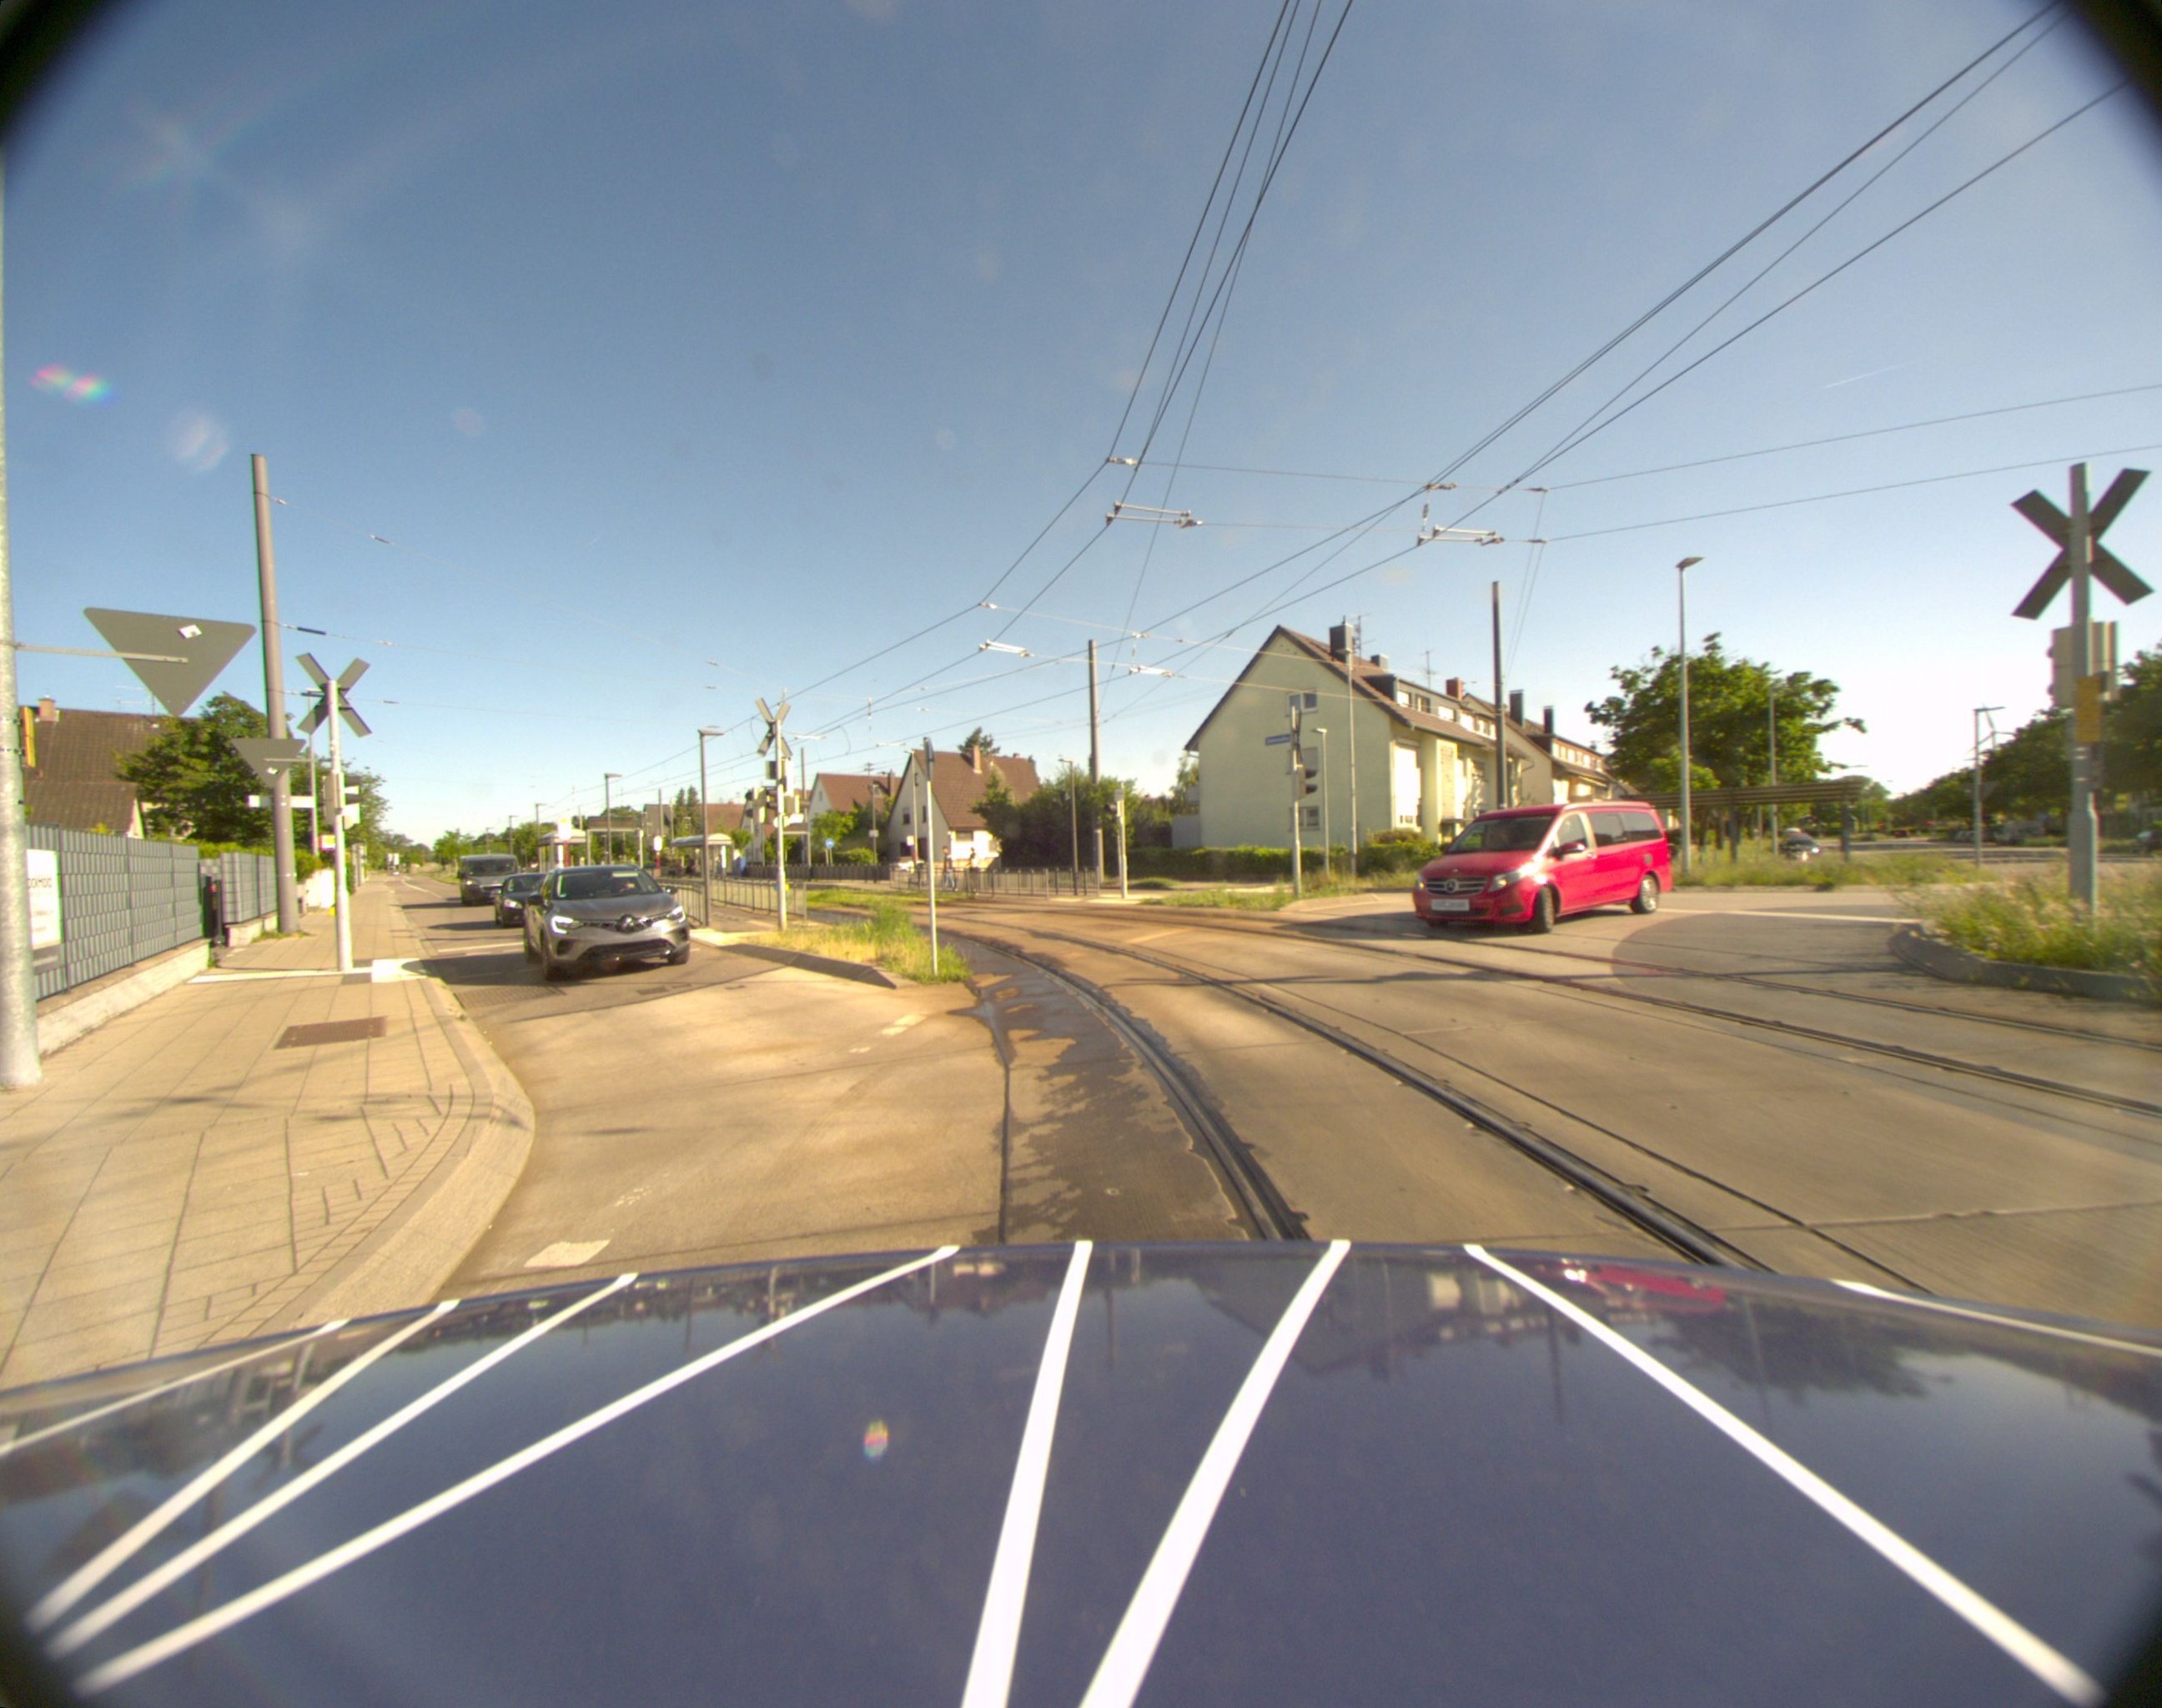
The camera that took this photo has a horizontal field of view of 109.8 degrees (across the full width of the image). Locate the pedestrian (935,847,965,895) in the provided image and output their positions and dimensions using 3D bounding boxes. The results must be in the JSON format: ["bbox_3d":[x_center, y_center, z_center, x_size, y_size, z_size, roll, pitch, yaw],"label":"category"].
[{"bbox_3d":[-4.944,0.630,28.685,0.823,1.761,0.690,0,4,24],"label":"pedestrian"}]

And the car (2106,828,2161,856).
[{"bbox_3d":[67.316,-0.780,48.446,1.547,1.667,4.229,-1,1,42],"label":"car"}]

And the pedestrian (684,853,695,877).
[{"bbox_3d":[-29.096,0.790,56.432,0.536,1.742,0.542,-3,1,-42],"label":"pedestrian"}]

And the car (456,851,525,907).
[{"bbox_3d":[-26.519,1.091,34.066,2.095,2.227,4.709,-4,2,-40],"label":"car"}]

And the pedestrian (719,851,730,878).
[{"bbox_3d":[-24.049,0.710,51.286,0.624,1.742,0.441,-2,1,-23],"label":"pedestrian"}]

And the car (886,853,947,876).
[{"bbox_3d":[-12.348,0.771,57.142,3.999,1.526,1.994,-2,1,-44],"label":"car"}]

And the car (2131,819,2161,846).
[{"bbox_3d":[64.379,-1.311,45.110,1.541,1.582,4.085,-1,1,42],"label":"car"}]

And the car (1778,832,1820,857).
[{"bbox_3d":[44.580,-0.597,47.187,1.822,1.385,3.797,-1,3,44],"label":"car"}]

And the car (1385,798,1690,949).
[{"bbox_3d":[7.693,0.186,12.642,5.245,1.970,1.995,-4,2,-30],"label":"car"}]

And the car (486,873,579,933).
[{"bbox_3d":[-15.272,1.273,21.072,1.691,1.379,3.989,-4,2,-40],"label":"car"}]

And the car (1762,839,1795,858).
[{"bbox_3d":[54.368,-0.438,59.194,1.822,1.384,3.876,-1,0,44],"label":"car"}]

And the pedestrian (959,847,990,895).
[{"bbox_3d":[-3.791,0.590,27.179,0.726,1.652,0.797,0,4,24],"label":"pedestrian"}]

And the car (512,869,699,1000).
[{"bbox_3d":[-7.526,1.071,11.844,1.834,1.570,3.989,-4,2,-40],"label":"car"}]
